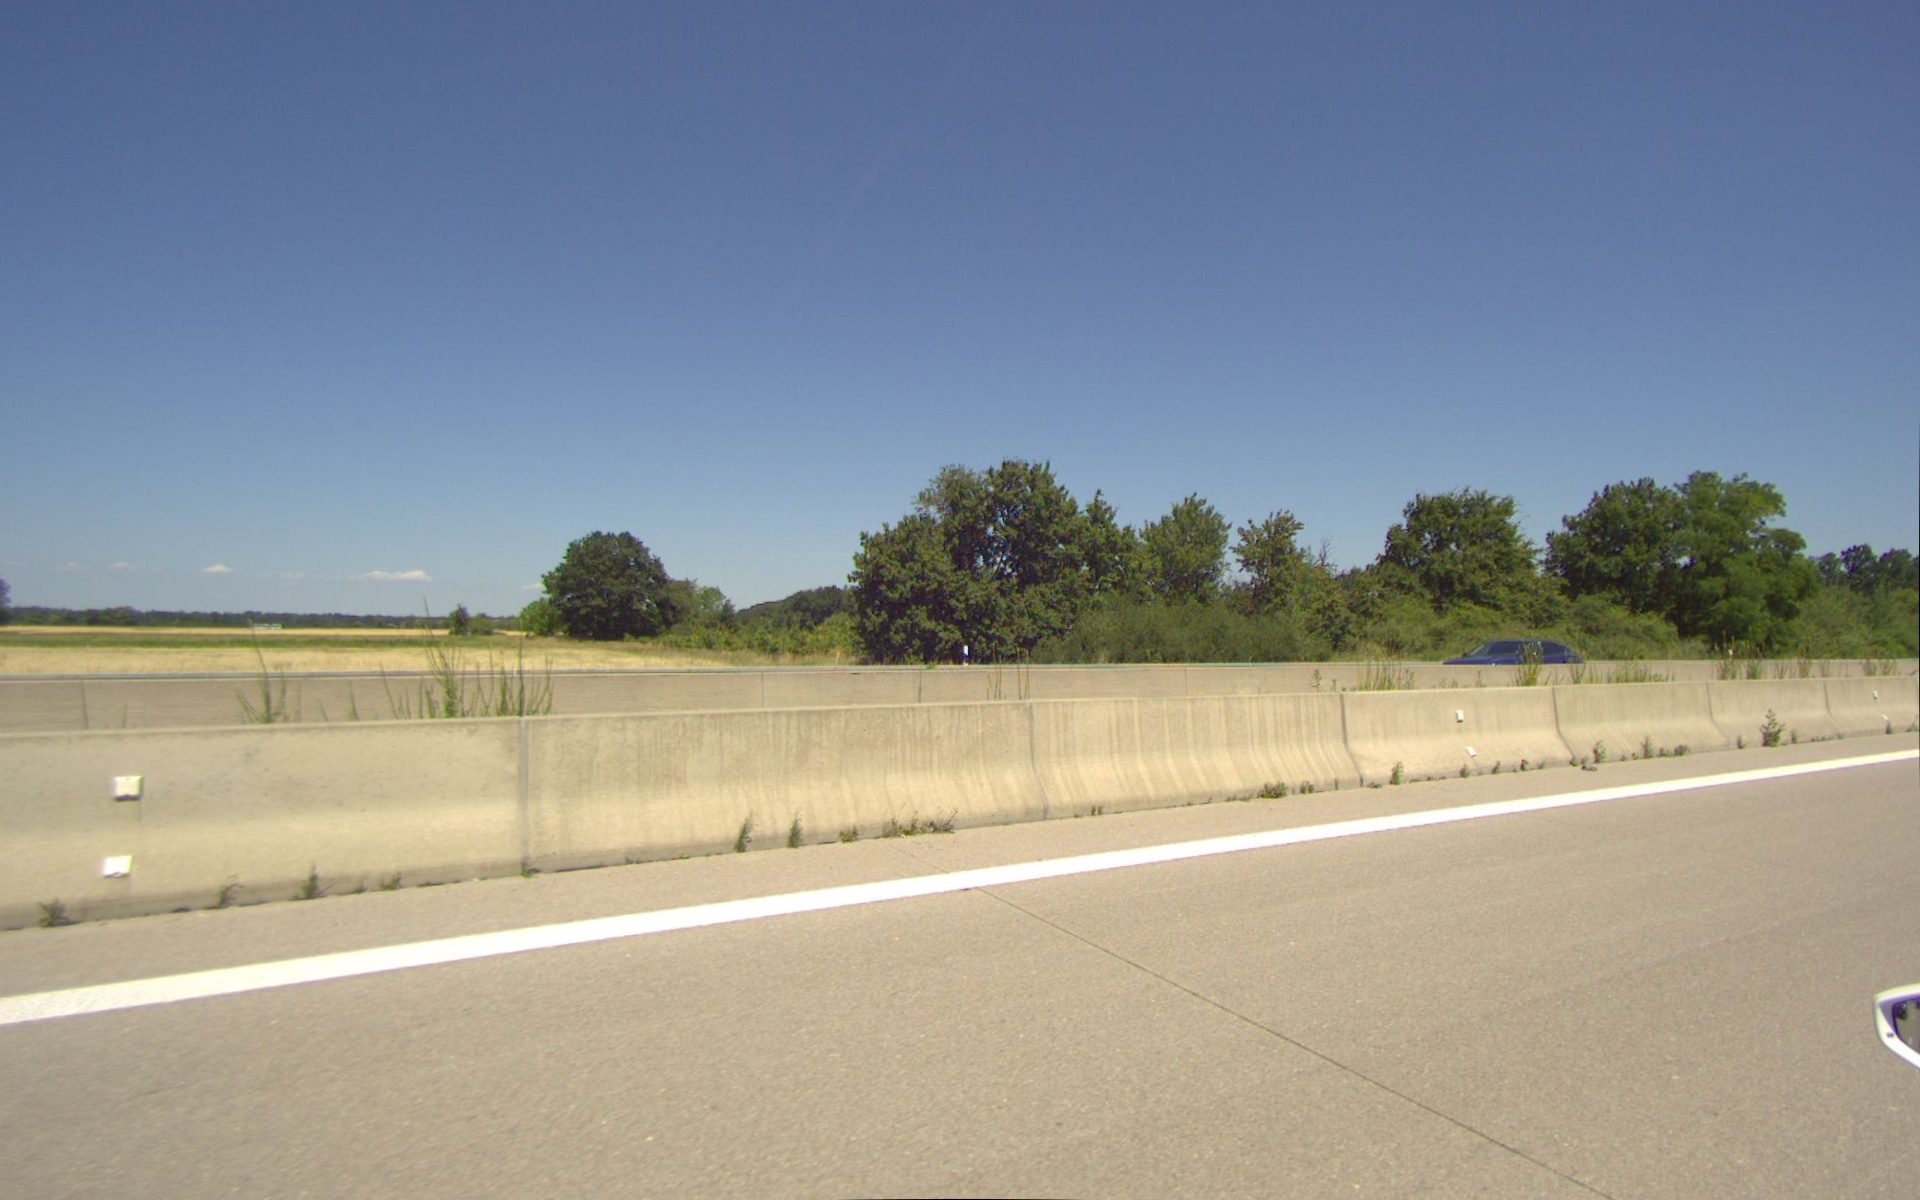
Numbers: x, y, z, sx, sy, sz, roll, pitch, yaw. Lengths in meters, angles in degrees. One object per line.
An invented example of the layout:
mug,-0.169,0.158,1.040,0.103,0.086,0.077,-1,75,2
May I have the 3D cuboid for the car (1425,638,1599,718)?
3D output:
car,14.871,2.023,27.020,4.637,1.907,1.984,1,0,-30
